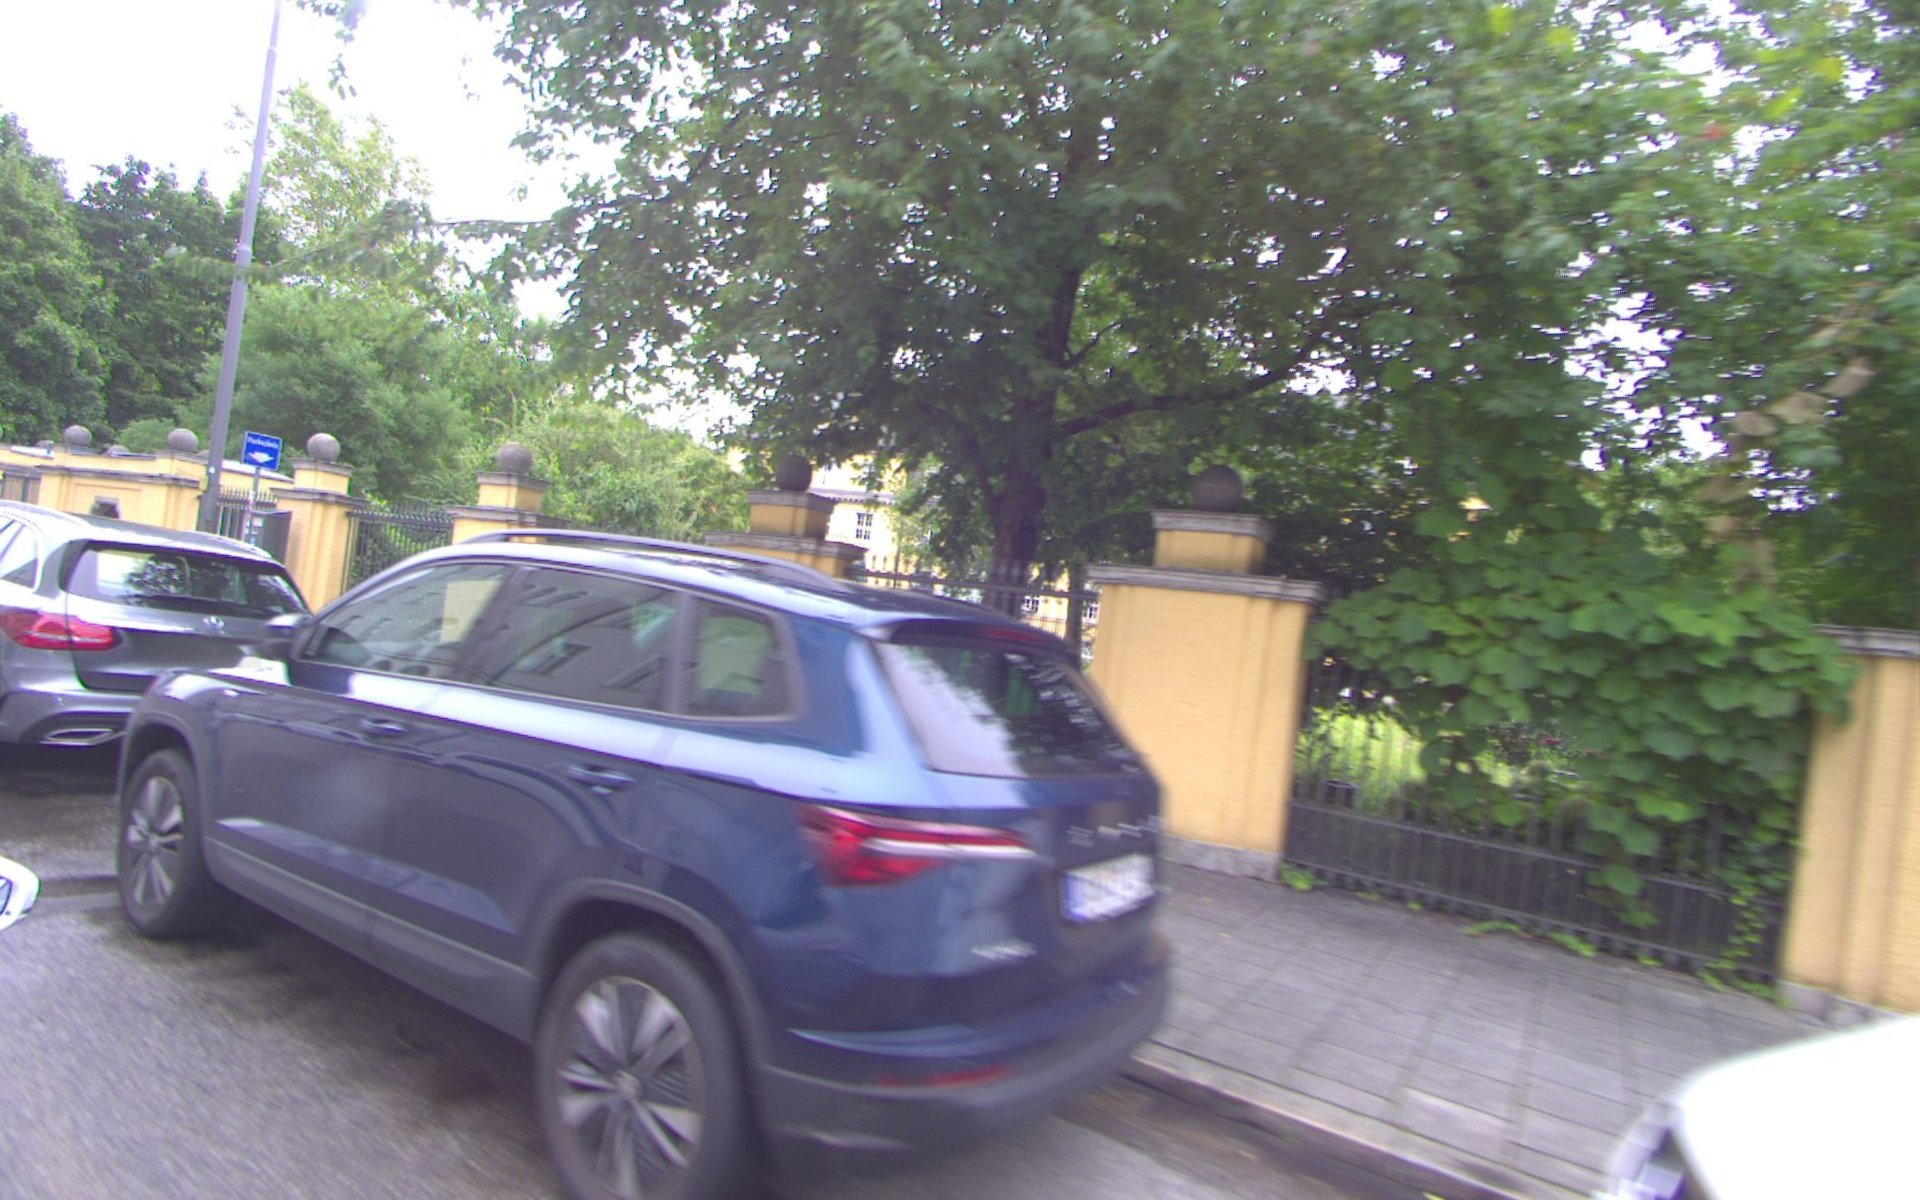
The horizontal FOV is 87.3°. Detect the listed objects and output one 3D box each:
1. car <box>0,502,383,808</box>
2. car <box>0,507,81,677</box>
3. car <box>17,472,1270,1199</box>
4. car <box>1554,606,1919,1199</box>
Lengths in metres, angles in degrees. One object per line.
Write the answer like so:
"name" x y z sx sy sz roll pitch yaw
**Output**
"car" -5.912 0.129 6.607 4.441 1.431 1.694 7 -1 32
"car" -10.150 -0.317 9.328 3.968 1.430 1.697 7 -3 30
"car" -1.471 0.555 3.745 4.613 1.589 1.716 7 -1 32
"car" 3.063 1.079 0.890 4.248 1.589 1.716 7 -1 32
